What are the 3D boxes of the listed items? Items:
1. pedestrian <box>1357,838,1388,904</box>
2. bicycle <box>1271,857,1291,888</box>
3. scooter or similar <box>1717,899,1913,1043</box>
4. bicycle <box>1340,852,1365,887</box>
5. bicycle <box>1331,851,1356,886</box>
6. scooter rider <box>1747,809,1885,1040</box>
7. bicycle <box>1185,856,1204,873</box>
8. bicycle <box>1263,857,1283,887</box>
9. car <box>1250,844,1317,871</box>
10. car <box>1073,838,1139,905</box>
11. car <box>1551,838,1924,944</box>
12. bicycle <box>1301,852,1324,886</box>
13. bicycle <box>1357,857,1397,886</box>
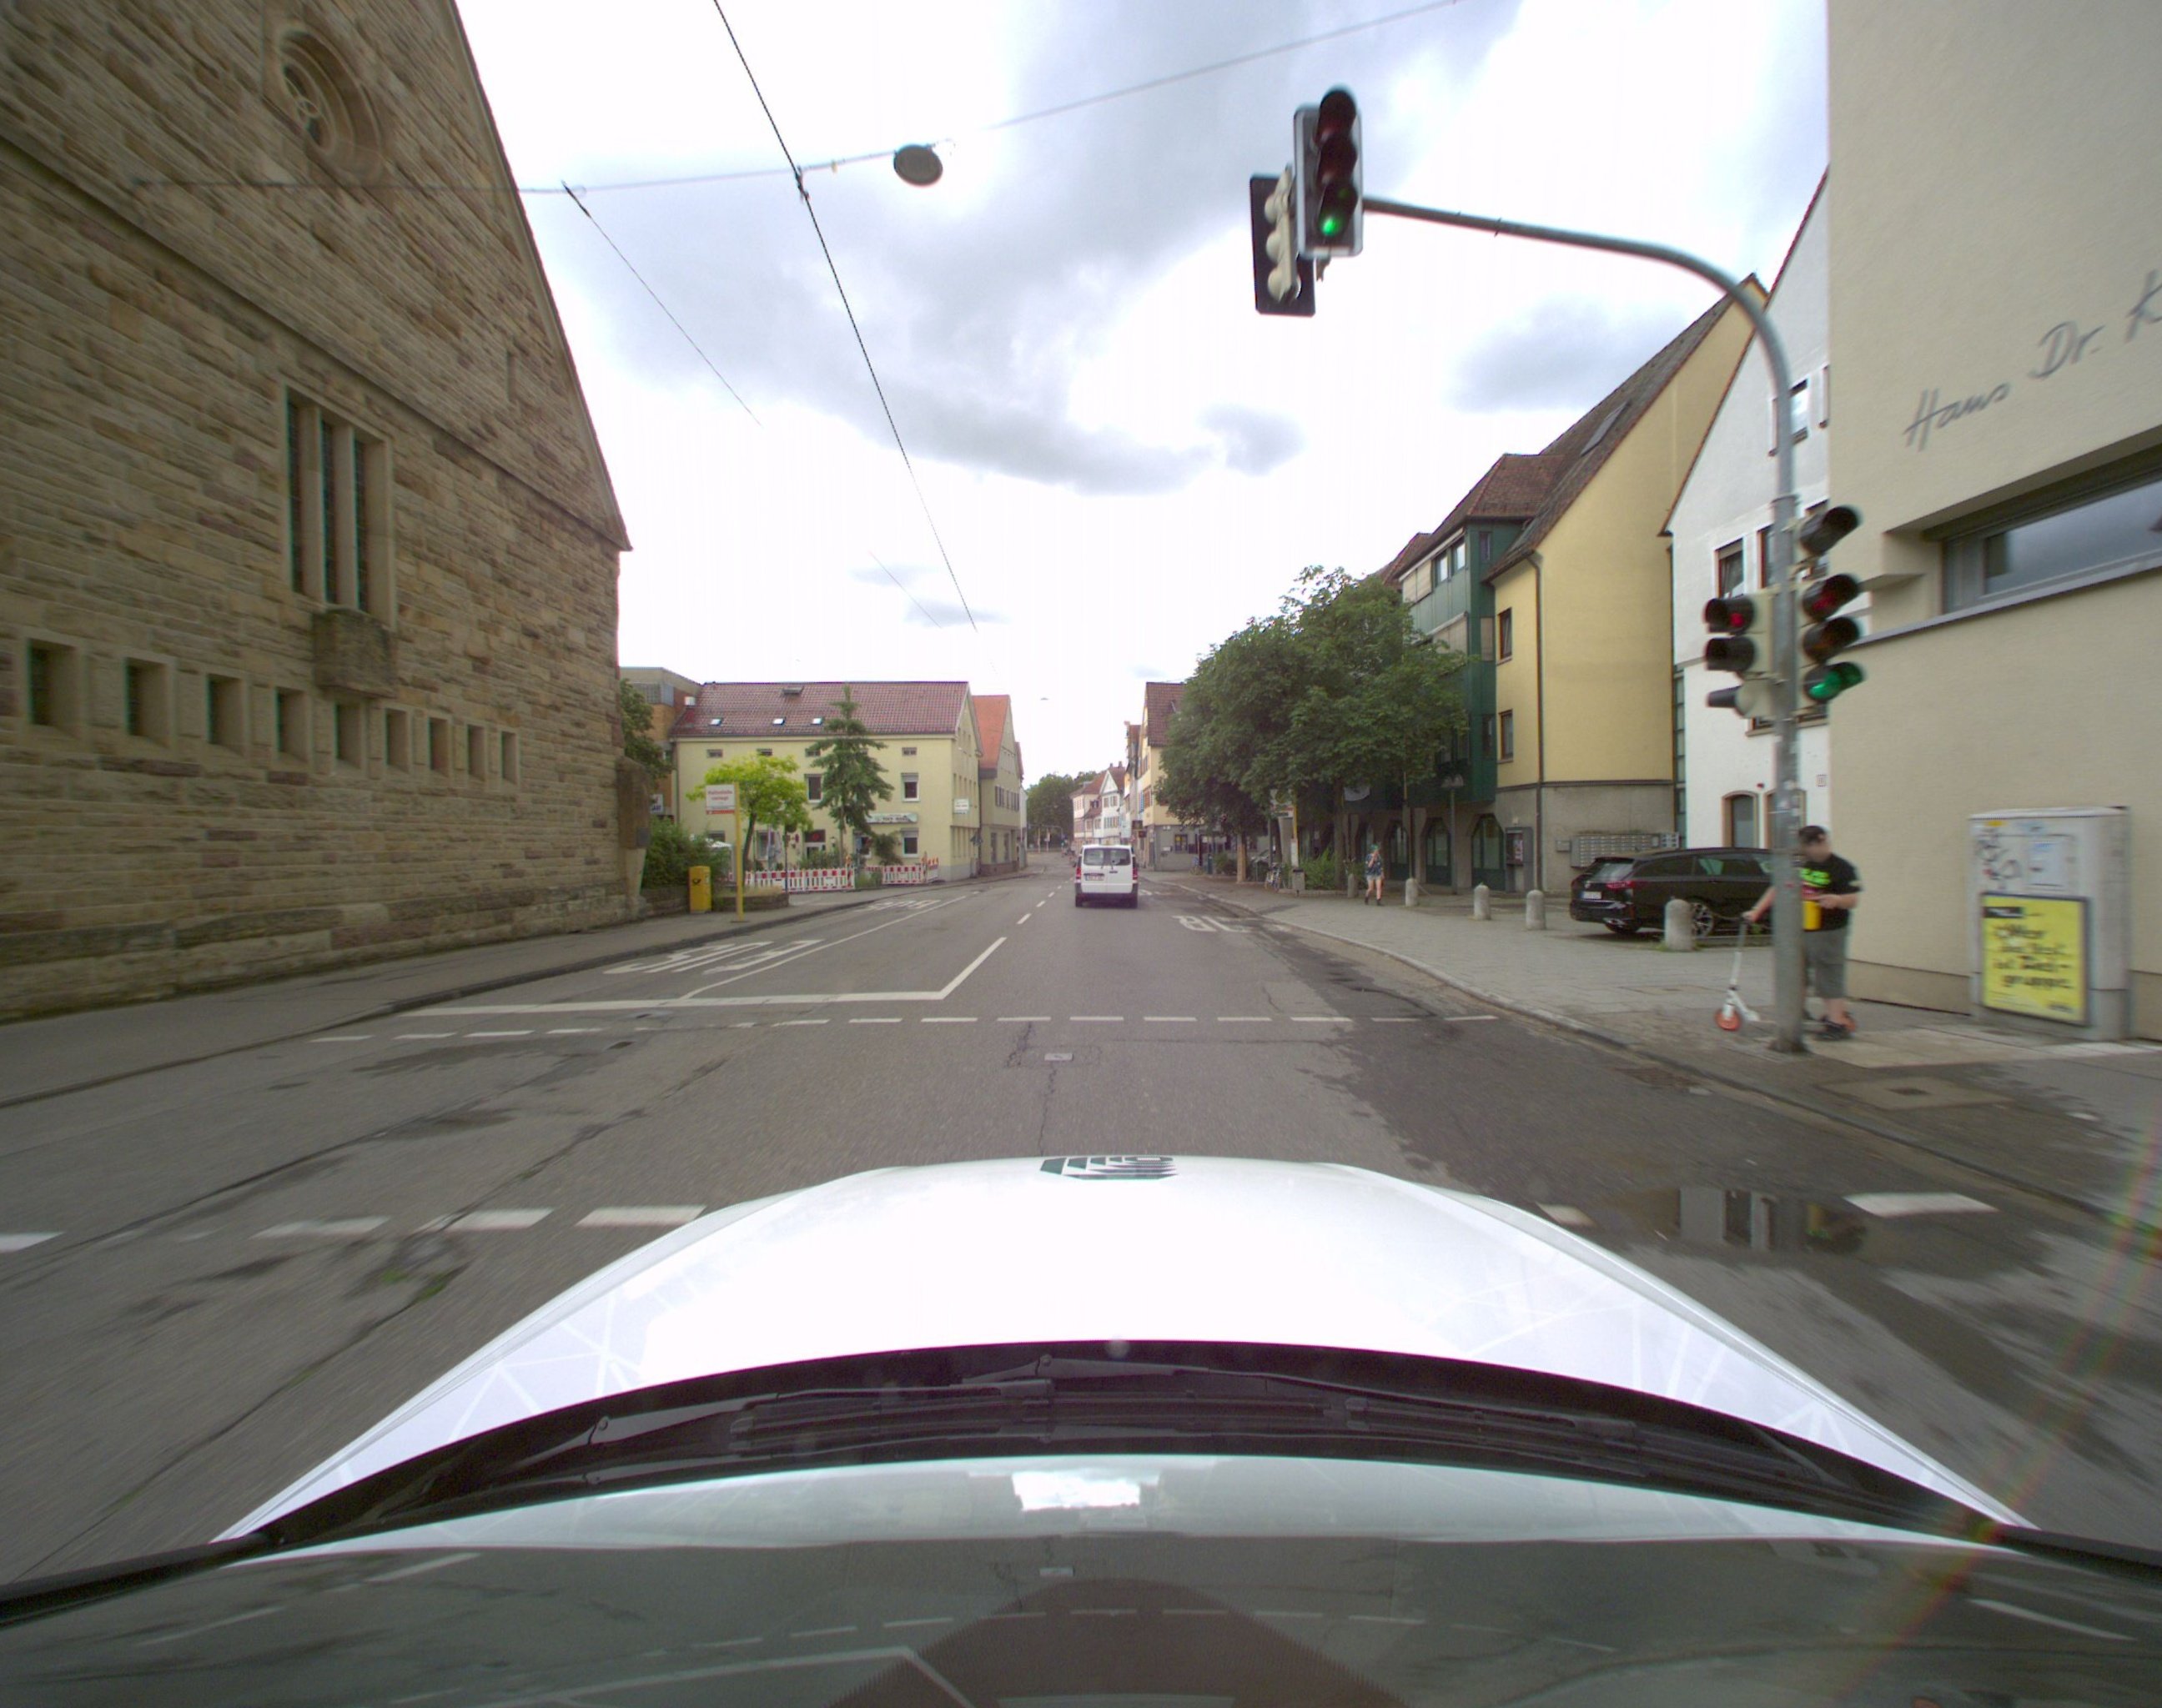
[{"bbox_3d":[7.818,0.444,21.831,0.599,1.715,0.862,-1,0,8],"label":"pedestrian"},{"bbox_3d":[7.751,0.694,31.621,0.332,1.141,1.958,0,0,0],"label":"bicycle"},{"bbox_3d":[5.512,0.842,6.161,0.661,0.946,0.817,-3,-2,-10],"label":"scooter or similar"},{"bbox_3d":[10.459,0.567,31.434,0.332,1.300,1.958,0,0,0],"label":"bicycle"},{"bbox_3d":[10.051,0.536,31.242,0.332,1.300,1.958,0,0,0],"label":"bicycle"},{"bbox_3d":[5.513,0.506,6.128,0.452,1.632,0.502,-3,-2,-13],"label":"scooter rider"},{"bbox_3d":[7.254,0.663,52.117,0.501,1.106,1.627,-1,0,-19],"label":"bicycle"},{"bbox_3d":[7.413,0.688,31.515,0.332,1.141,1.958,0,0,0],"label":"bicycle"},{"bbox_3d":[14.300,0.225,57.706,4.239,1.797,1.843,-1,2,-8],"label":"car"},{"bbox_3d":[0.807,0.523,25.475,1.865,1.912,4.002,-1,0,2],"label":"car"},{"bbox_3d":[10.499,0.555,13.362,4.486,1.574,1.856,0,0,7],"label":"car"},{"bbox_3d":[9.102,0.563,32.035,0.332,1.300,1.958,0,0,0],"label":"bicycle"},{"bbox_3d":[11.367,0.661,31.316,0.543,1.069,2.288,-2,0,-4],"label":"bicycle"}]
